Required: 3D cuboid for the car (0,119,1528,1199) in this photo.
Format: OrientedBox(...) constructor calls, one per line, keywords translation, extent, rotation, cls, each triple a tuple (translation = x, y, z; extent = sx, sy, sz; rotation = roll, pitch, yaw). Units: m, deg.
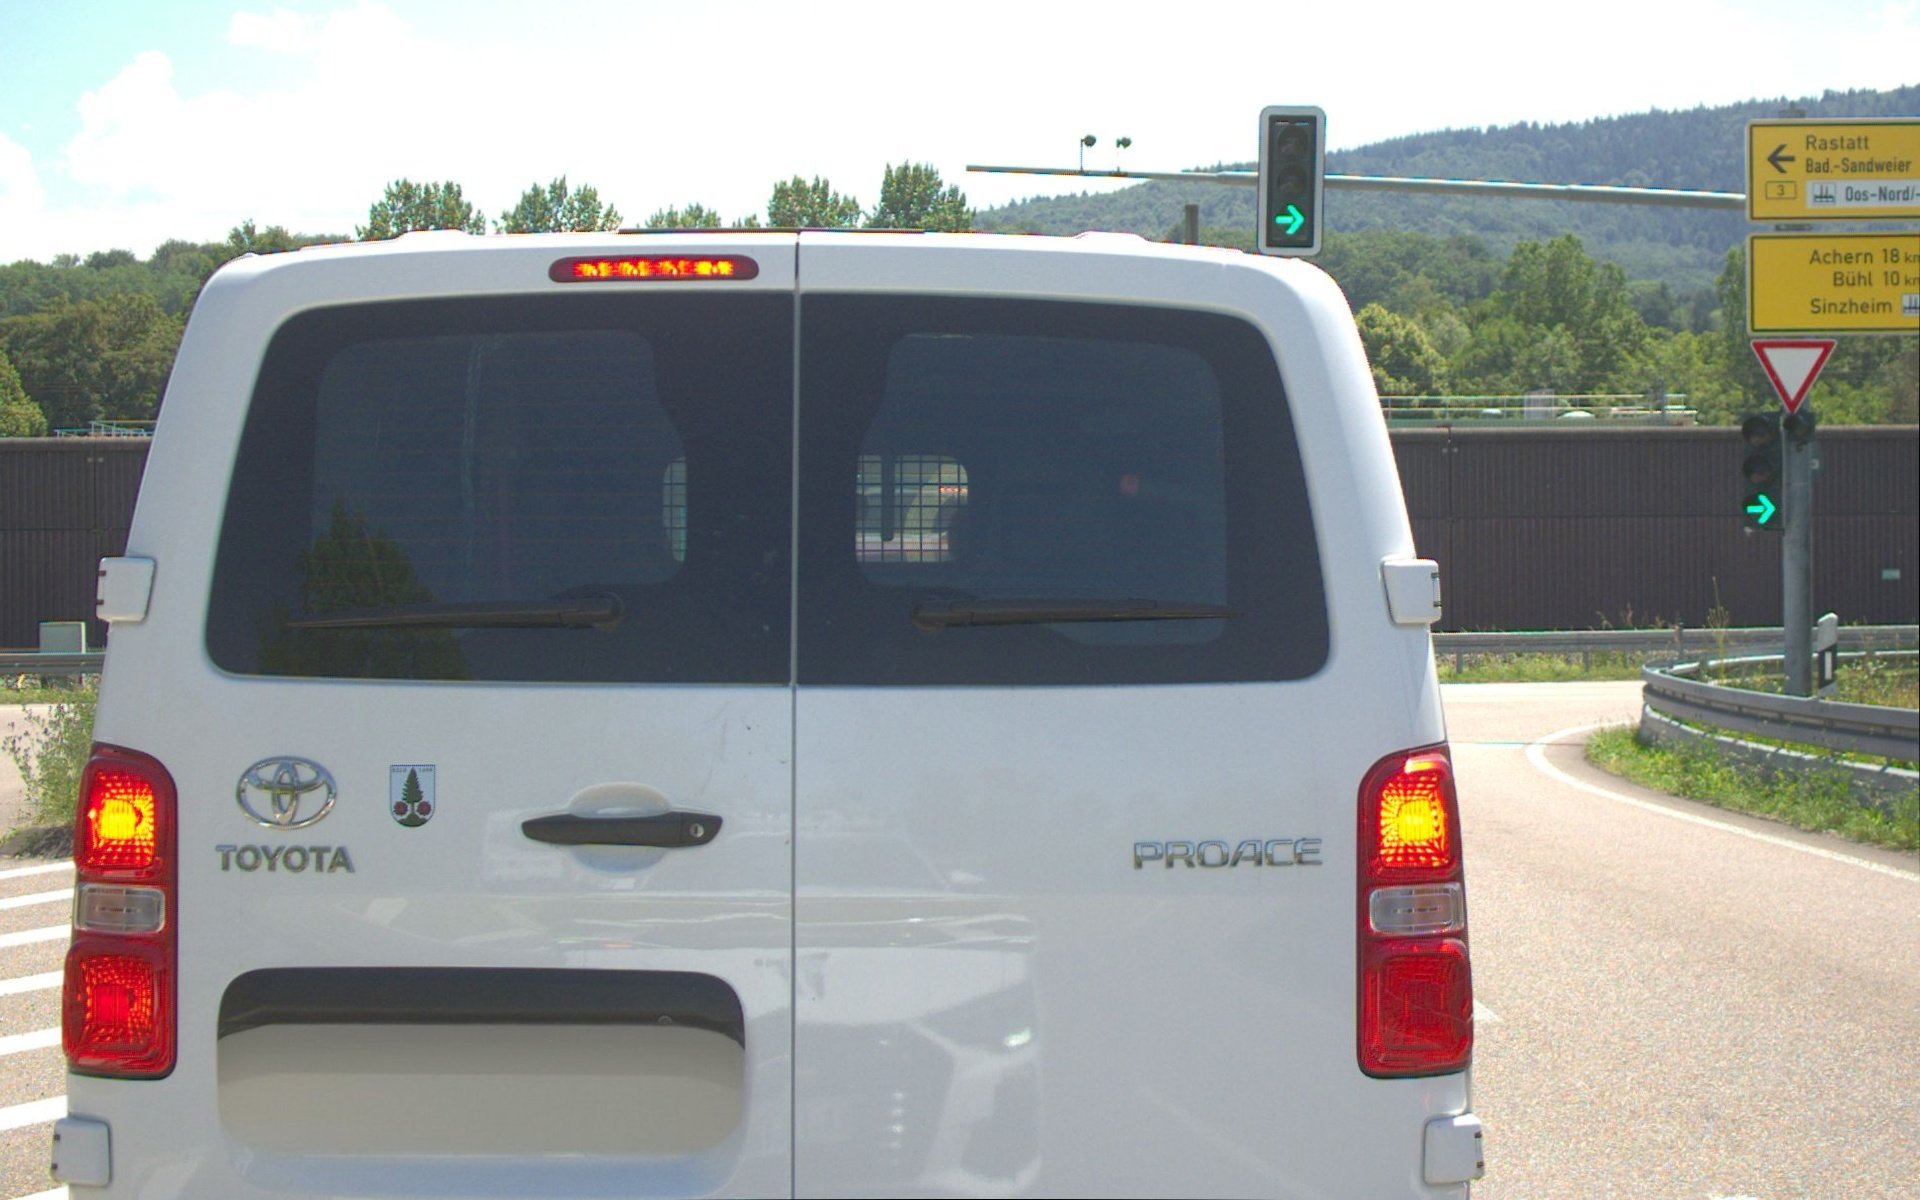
OrientedBox(translation=(-0.281, 0.435, 5.954), extent=(1.814, 2.011, 4.000), rotation=(0, 1, -1), cls="car")
